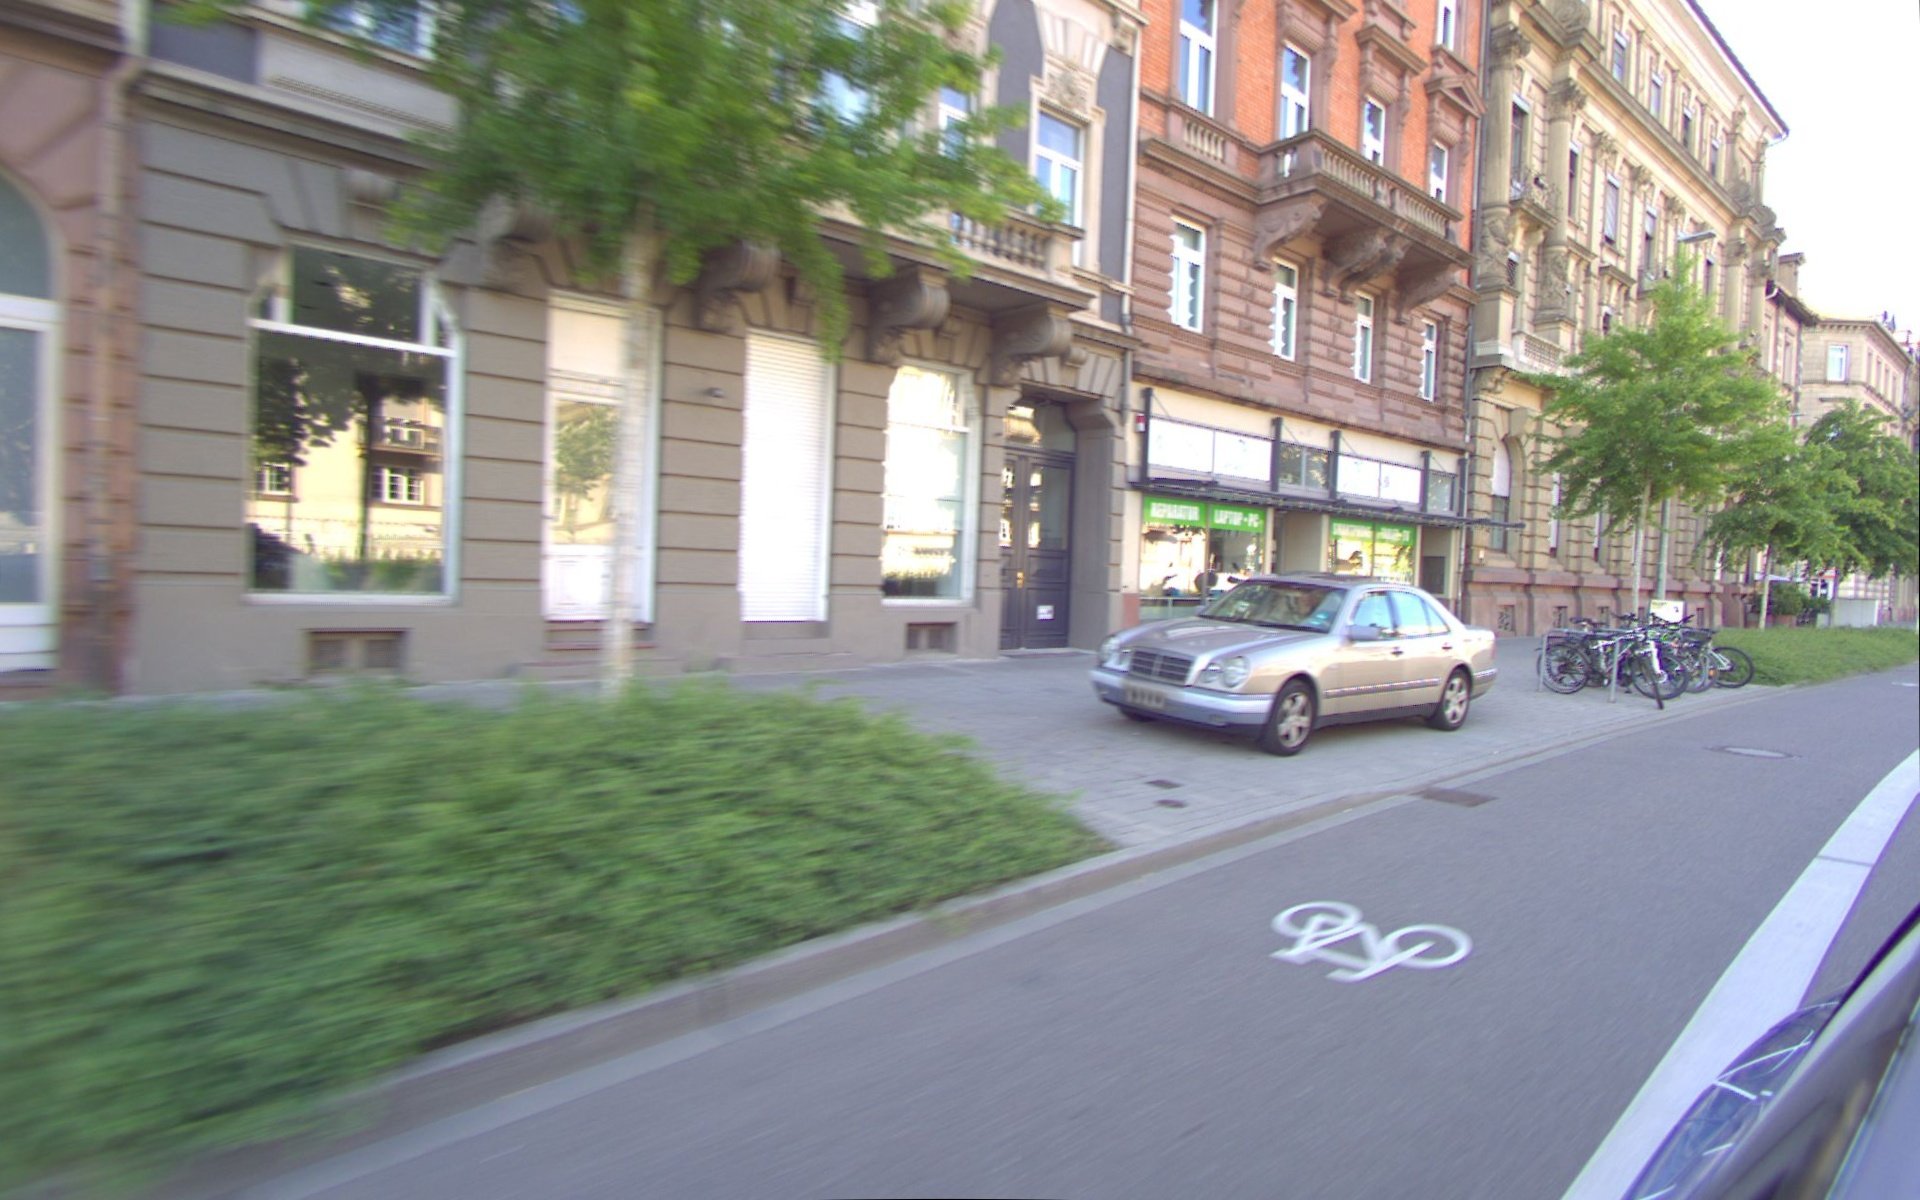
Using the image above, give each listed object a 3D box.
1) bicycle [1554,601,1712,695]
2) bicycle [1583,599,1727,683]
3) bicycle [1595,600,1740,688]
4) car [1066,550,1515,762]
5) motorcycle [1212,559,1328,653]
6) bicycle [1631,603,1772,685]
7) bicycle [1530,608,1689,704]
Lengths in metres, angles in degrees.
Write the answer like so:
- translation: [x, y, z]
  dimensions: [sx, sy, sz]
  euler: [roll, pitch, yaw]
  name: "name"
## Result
- translation: [9.217, 0.623, 13.918]
  dimensions: [0.520, 1.132, 1.694]
  euler: [1, 2, -37]
  name: "bicycle"
- translation: [10.512, 0.590, 15.361]
  dimensions: [0.520, 1.132, 1.694]
  euler: [1, 2, -37]
  name: "bicycle"
- translation: [10.241, 0.604, 14.697]
  dimensions: [0.566, 1.132, 1.585]
  euler: [1, 2, -37]
  name: "bicycle"
- translation: [3.305, 0.401, 9.608]
  dimensions: [4.657, 1.502, 1.696]
  euler: [1, 4, -39]
  name: "car"
- translation: [5.091, 0.080, 16.555]
  dimensions: [2.017, 1.439, 0.788]
  euler: [1, 2, -40]
  name: "motorcycle"
- translation: [11.606, 0.660, 15.881]
  dimensions: [0.521, 1.132, 1.690]
  euler: [1, 2, -44]
  name: "bicycle"
- translation: [8.263, 0.679, 12.942]
  dimensions: [0.469, 1.065, 1.614]
  euler: [1, 2, -37]
  name: "bicycle"
